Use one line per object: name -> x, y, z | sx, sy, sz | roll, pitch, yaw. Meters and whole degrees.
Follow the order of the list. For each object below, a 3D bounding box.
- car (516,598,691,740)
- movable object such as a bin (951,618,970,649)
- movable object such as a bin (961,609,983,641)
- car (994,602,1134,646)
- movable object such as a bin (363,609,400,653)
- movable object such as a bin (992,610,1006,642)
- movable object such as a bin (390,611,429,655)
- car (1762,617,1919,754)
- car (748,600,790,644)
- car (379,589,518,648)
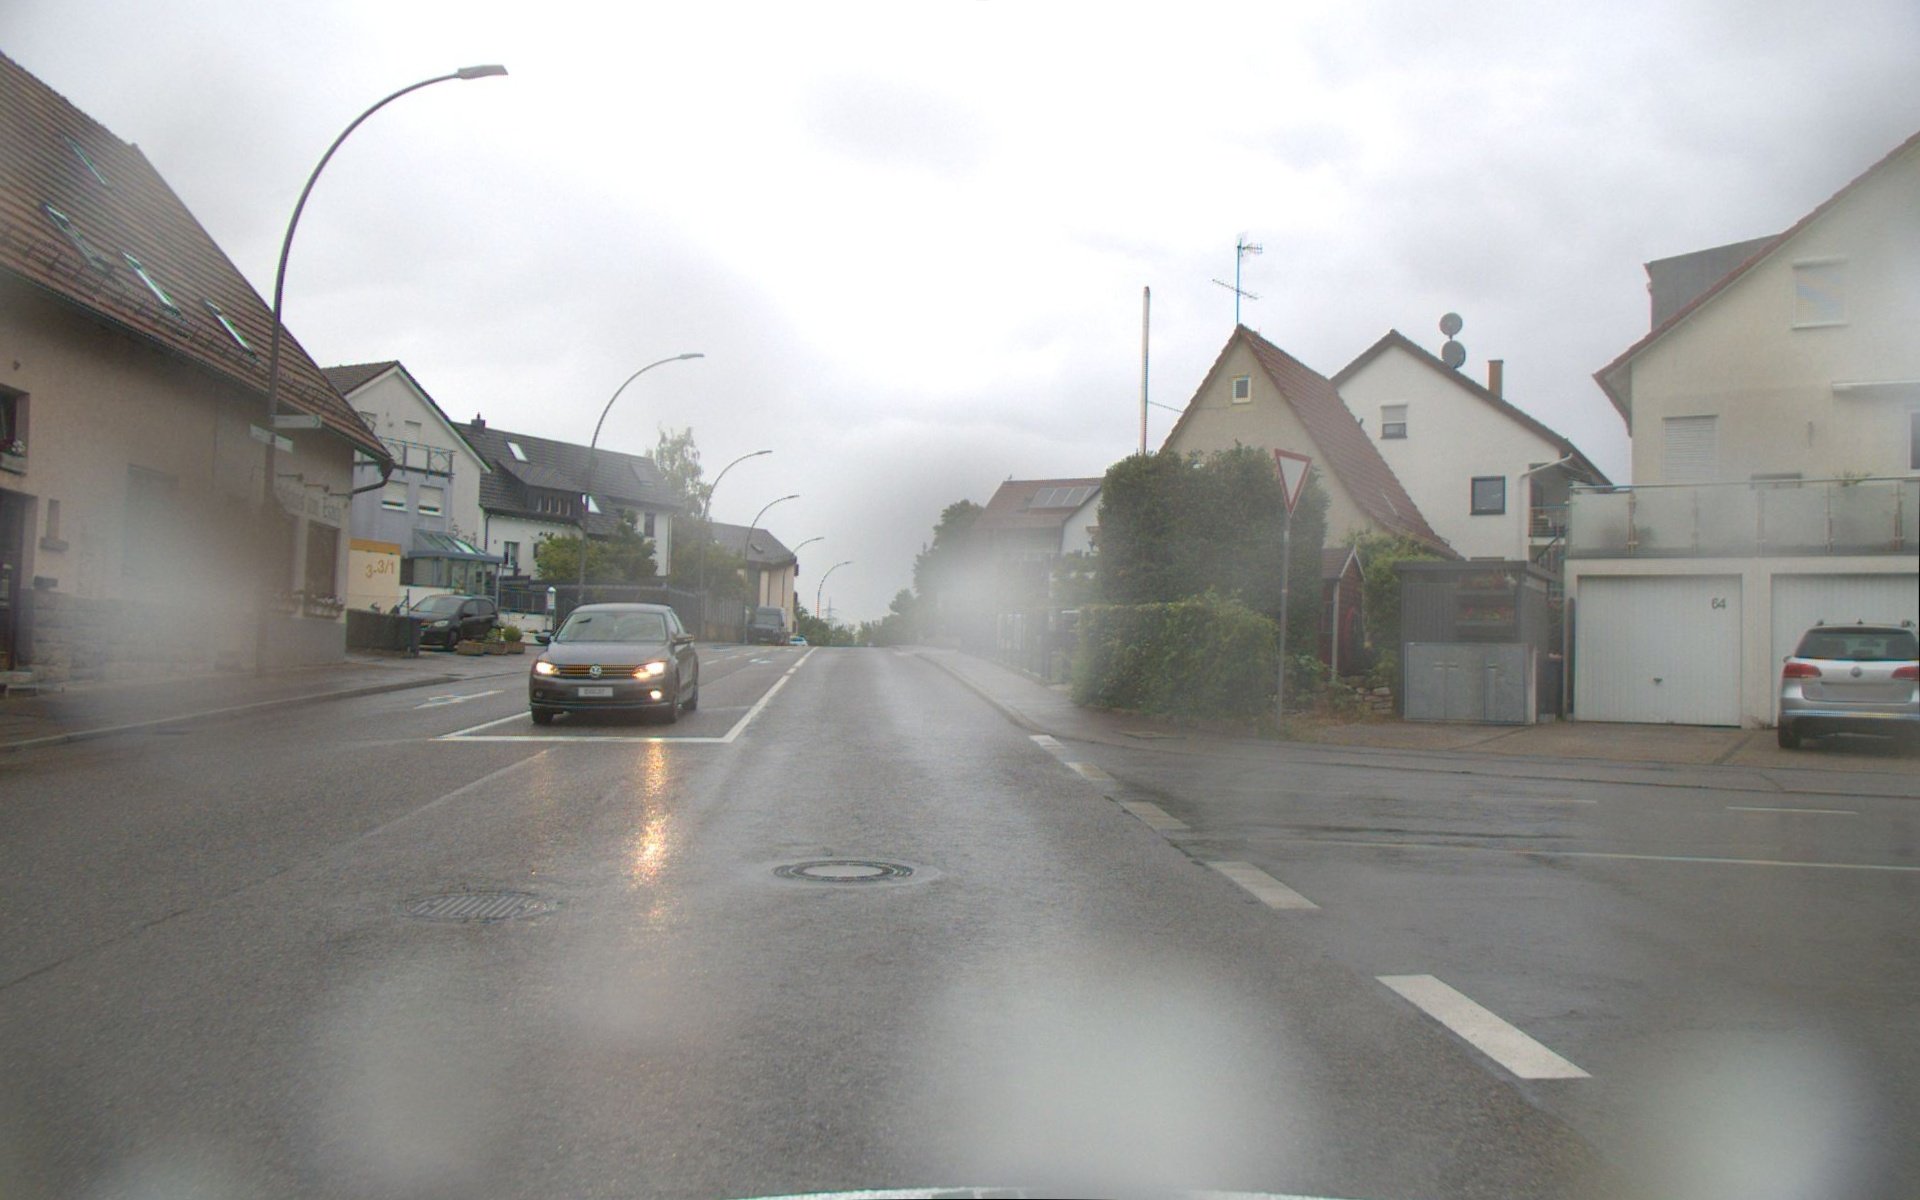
car -> -4.405, 0.781, 20.973 | 1.908, 1.601, 4.217 | 0, 0, -9
movable object such as a bin -> 0.004, 1.119, 55.260 | 0.614, 1.039, 0.540 | -1, -1, 1
movable object such as a bin -> 0.388, 0.807, 53.602 | 0.518, 1.039, 0.733 | -1, -1, 15
car -> 3.578, 0.818, 56.449 | 4.460, 1.408, 2.002 | -1, 0, 14
movable object such as a bin -> -13.965, 0.743, 39.935 | 0.624, 1.050, 0.605 | -1, -1, 10
movable object such as a bin -> 1.262, 0.844, 53.561 | 0.433, 1.039, 0.525 | -1, -1, 4
movable object such as a bin -> -13.245, 0.784, 39.812 | 0.624, 1.050, 0.674 | -1, -1, 10
car -> 11.006, 0.950, 20.026 | 1.957, 1.422, 4.141 | -1, 0, 31
car -> -12.695, 1.524, 110.390 | 2.052, 2.696, 5.916 | 2, -2, -1
car -> -13.964, 0.497, 45.382 | 1.861, 1.467, 3.831 | 2, 0, 14
